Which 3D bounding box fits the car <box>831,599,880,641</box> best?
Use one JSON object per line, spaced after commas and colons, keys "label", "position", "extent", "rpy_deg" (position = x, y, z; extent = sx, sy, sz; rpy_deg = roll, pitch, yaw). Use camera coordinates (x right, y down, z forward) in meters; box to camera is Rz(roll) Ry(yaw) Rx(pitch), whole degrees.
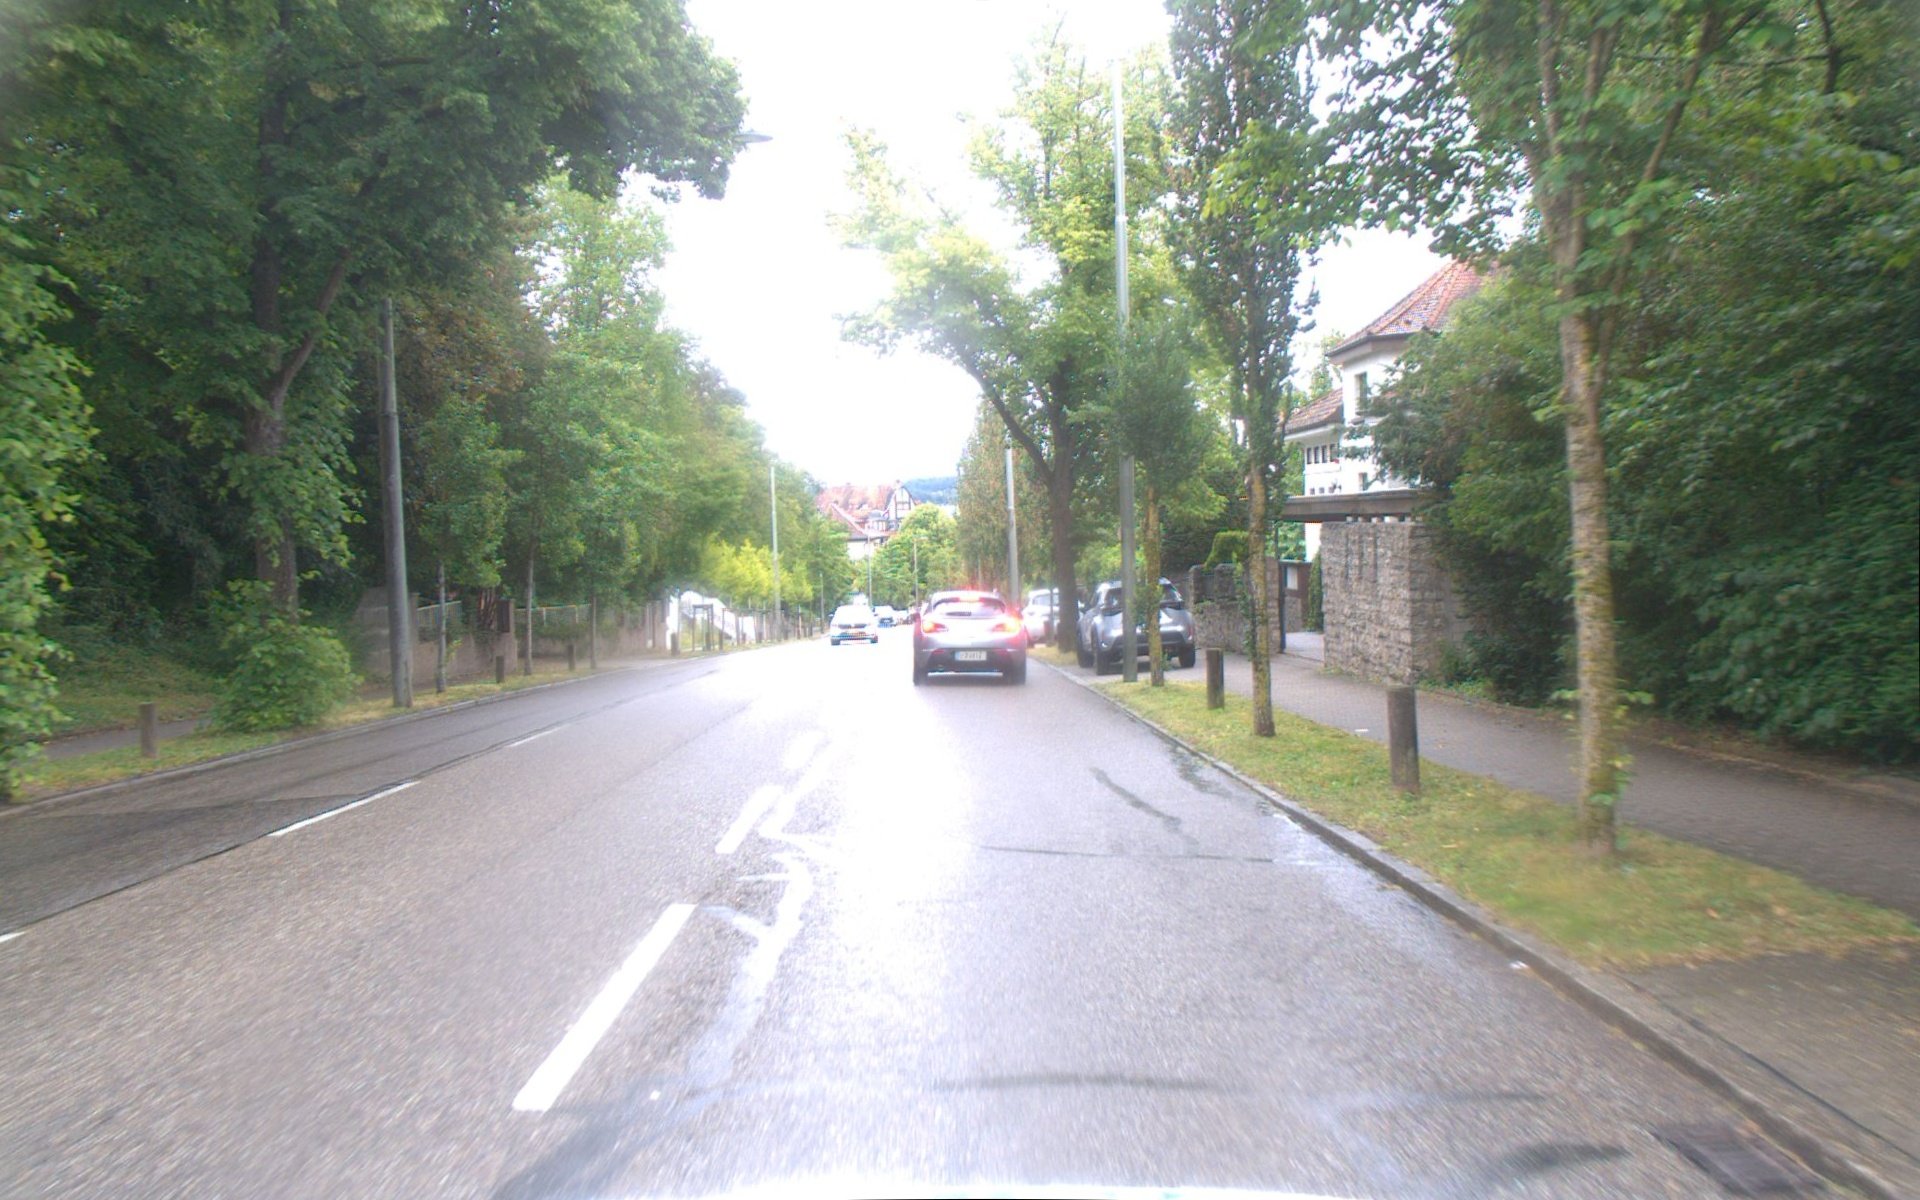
{"label": "car", "position": [-4.047, 0.751, 64.605], "extent": [1.686, 1.489, 4.000], "rpy_deg": [1, 1, -1]}

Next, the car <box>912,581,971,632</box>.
{"label": "car", "position": [-0.576, 0.224, 50.744], "extent": [1.718, 1.490, 3.999], "rpy_deg": [0, -1, -1]}

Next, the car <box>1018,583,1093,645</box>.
{"label": "car", "position": [2.550, 0.338, 44.848], "extent": [1.686, 1.489, 4.000], "rpy_deg": [-3, 1, -1]}

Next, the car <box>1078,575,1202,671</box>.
{"label": "car", "position": [3.153, 0.358, 29.699], "extent": [1.686, 1.489, 4.000], "rpy_deg": [-3, 1, -1]}

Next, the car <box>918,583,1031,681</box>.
{"label": "car", "position": [0.203, 0.520, 27.380], "extent": [1.718, 1.490, 3.999], "rpy_deg": [0, -1, -1]}

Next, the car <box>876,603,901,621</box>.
{"label": "car", "position": [-5.989, 1.026, 138.234], "extent": [1.689, 1.490, 3.993], "rpy_deg": [1, -1, -8]}
